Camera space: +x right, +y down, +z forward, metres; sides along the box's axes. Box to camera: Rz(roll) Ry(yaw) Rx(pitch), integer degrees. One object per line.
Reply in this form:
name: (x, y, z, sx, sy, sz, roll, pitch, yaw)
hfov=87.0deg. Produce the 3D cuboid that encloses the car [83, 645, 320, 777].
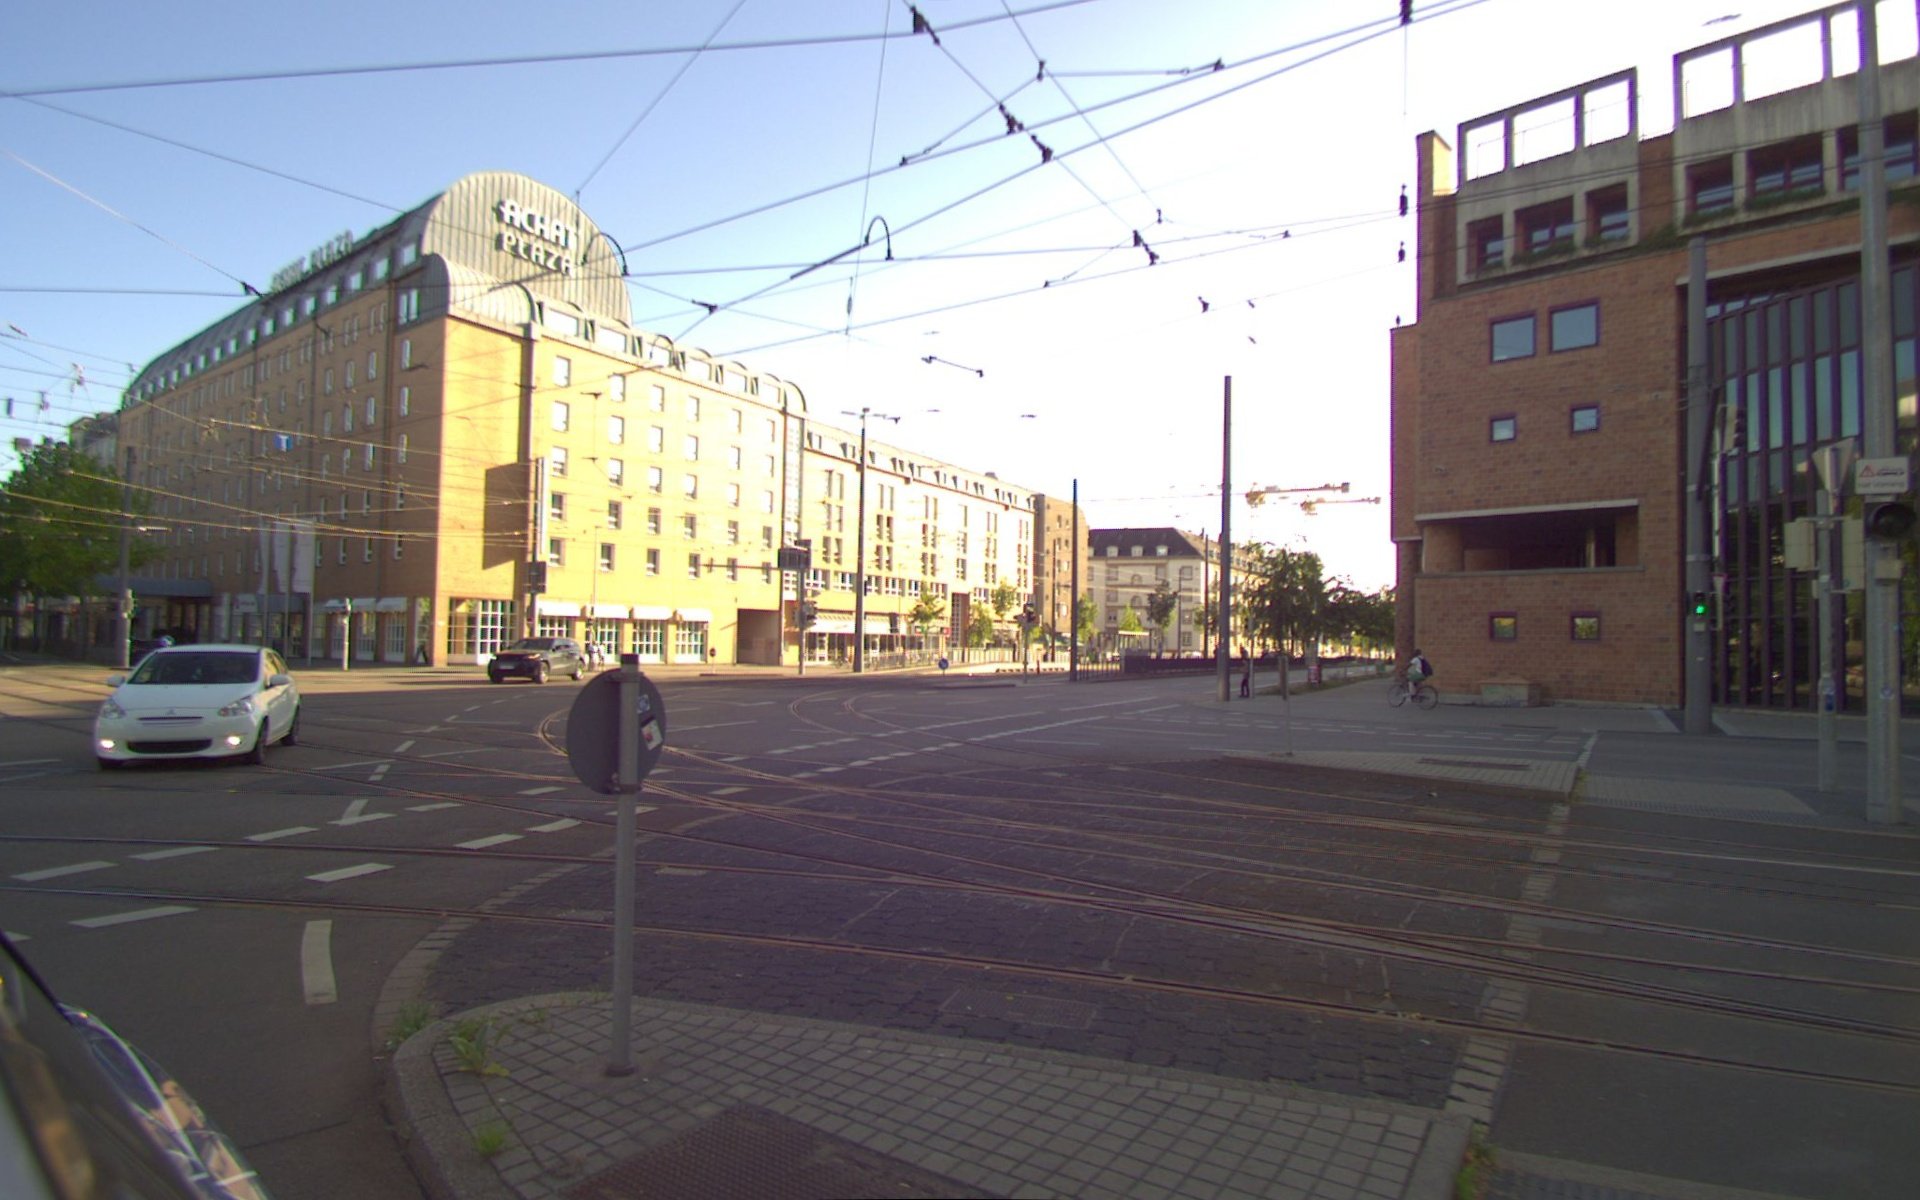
car: (-9.950, 1.360, 13.632, 1.612, 1.478, 4.199, 2, -3, -24)

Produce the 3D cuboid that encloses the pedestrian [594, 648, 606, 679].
pedestrian: (-21.214, 3.757, 59.587, 0.569, 1.788, 0.406, 3, -2, -21)

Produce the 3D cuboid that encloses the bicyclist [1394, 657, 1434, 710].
bicyclist: (14.217, 2.588, 31.685, 0.675, 1.602, 0.930, 2, -3, -33)

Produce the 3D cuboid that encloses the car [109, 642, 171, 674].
car: (-42.152, 2.968, 52.013, 4.310, 1.477, 1.772, -1, -4, 42)

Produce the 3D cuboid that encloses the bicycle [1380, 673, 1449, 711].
bicycle: (14.200, 2.857, 31.671, 0.606, 1.088, 1.925, 2, -3, -34)

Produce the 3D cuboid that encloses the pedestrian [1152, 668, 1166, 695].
pedestrian: (11.948, 4.882, 60.746, 0.699, 1.546, 0.648, -1, -3, 28)

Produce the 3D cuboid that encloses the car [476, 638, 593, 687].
car: (-15.396, 2.262, 36.904, 1.934, 1.675, 4.343, -1, -3, 9)

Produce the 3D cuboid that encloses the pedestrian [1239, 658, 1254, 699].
pedestrian: (11.372, 3.111, 40.199, 0.506, 1.629, 0.501, -2, -3, 21)

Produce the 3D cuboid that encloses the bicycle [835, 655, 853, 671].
bicycle: (-9.208, 4.999, 80.072, 0.544, 1.157, 1.779, 2, -1, -38)

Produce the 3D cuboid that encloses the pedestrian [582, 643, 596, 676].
pedestrian: (-21.506, 3.431, 58.662, 0.490, 1.847, 0.733, 2, -2, -4)

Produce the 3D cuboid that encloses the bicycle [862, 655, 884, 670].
bicycle: (-7.034, 5.060, 81.831, 1.771, 1.150, 0.547, 1, -1, 34)
